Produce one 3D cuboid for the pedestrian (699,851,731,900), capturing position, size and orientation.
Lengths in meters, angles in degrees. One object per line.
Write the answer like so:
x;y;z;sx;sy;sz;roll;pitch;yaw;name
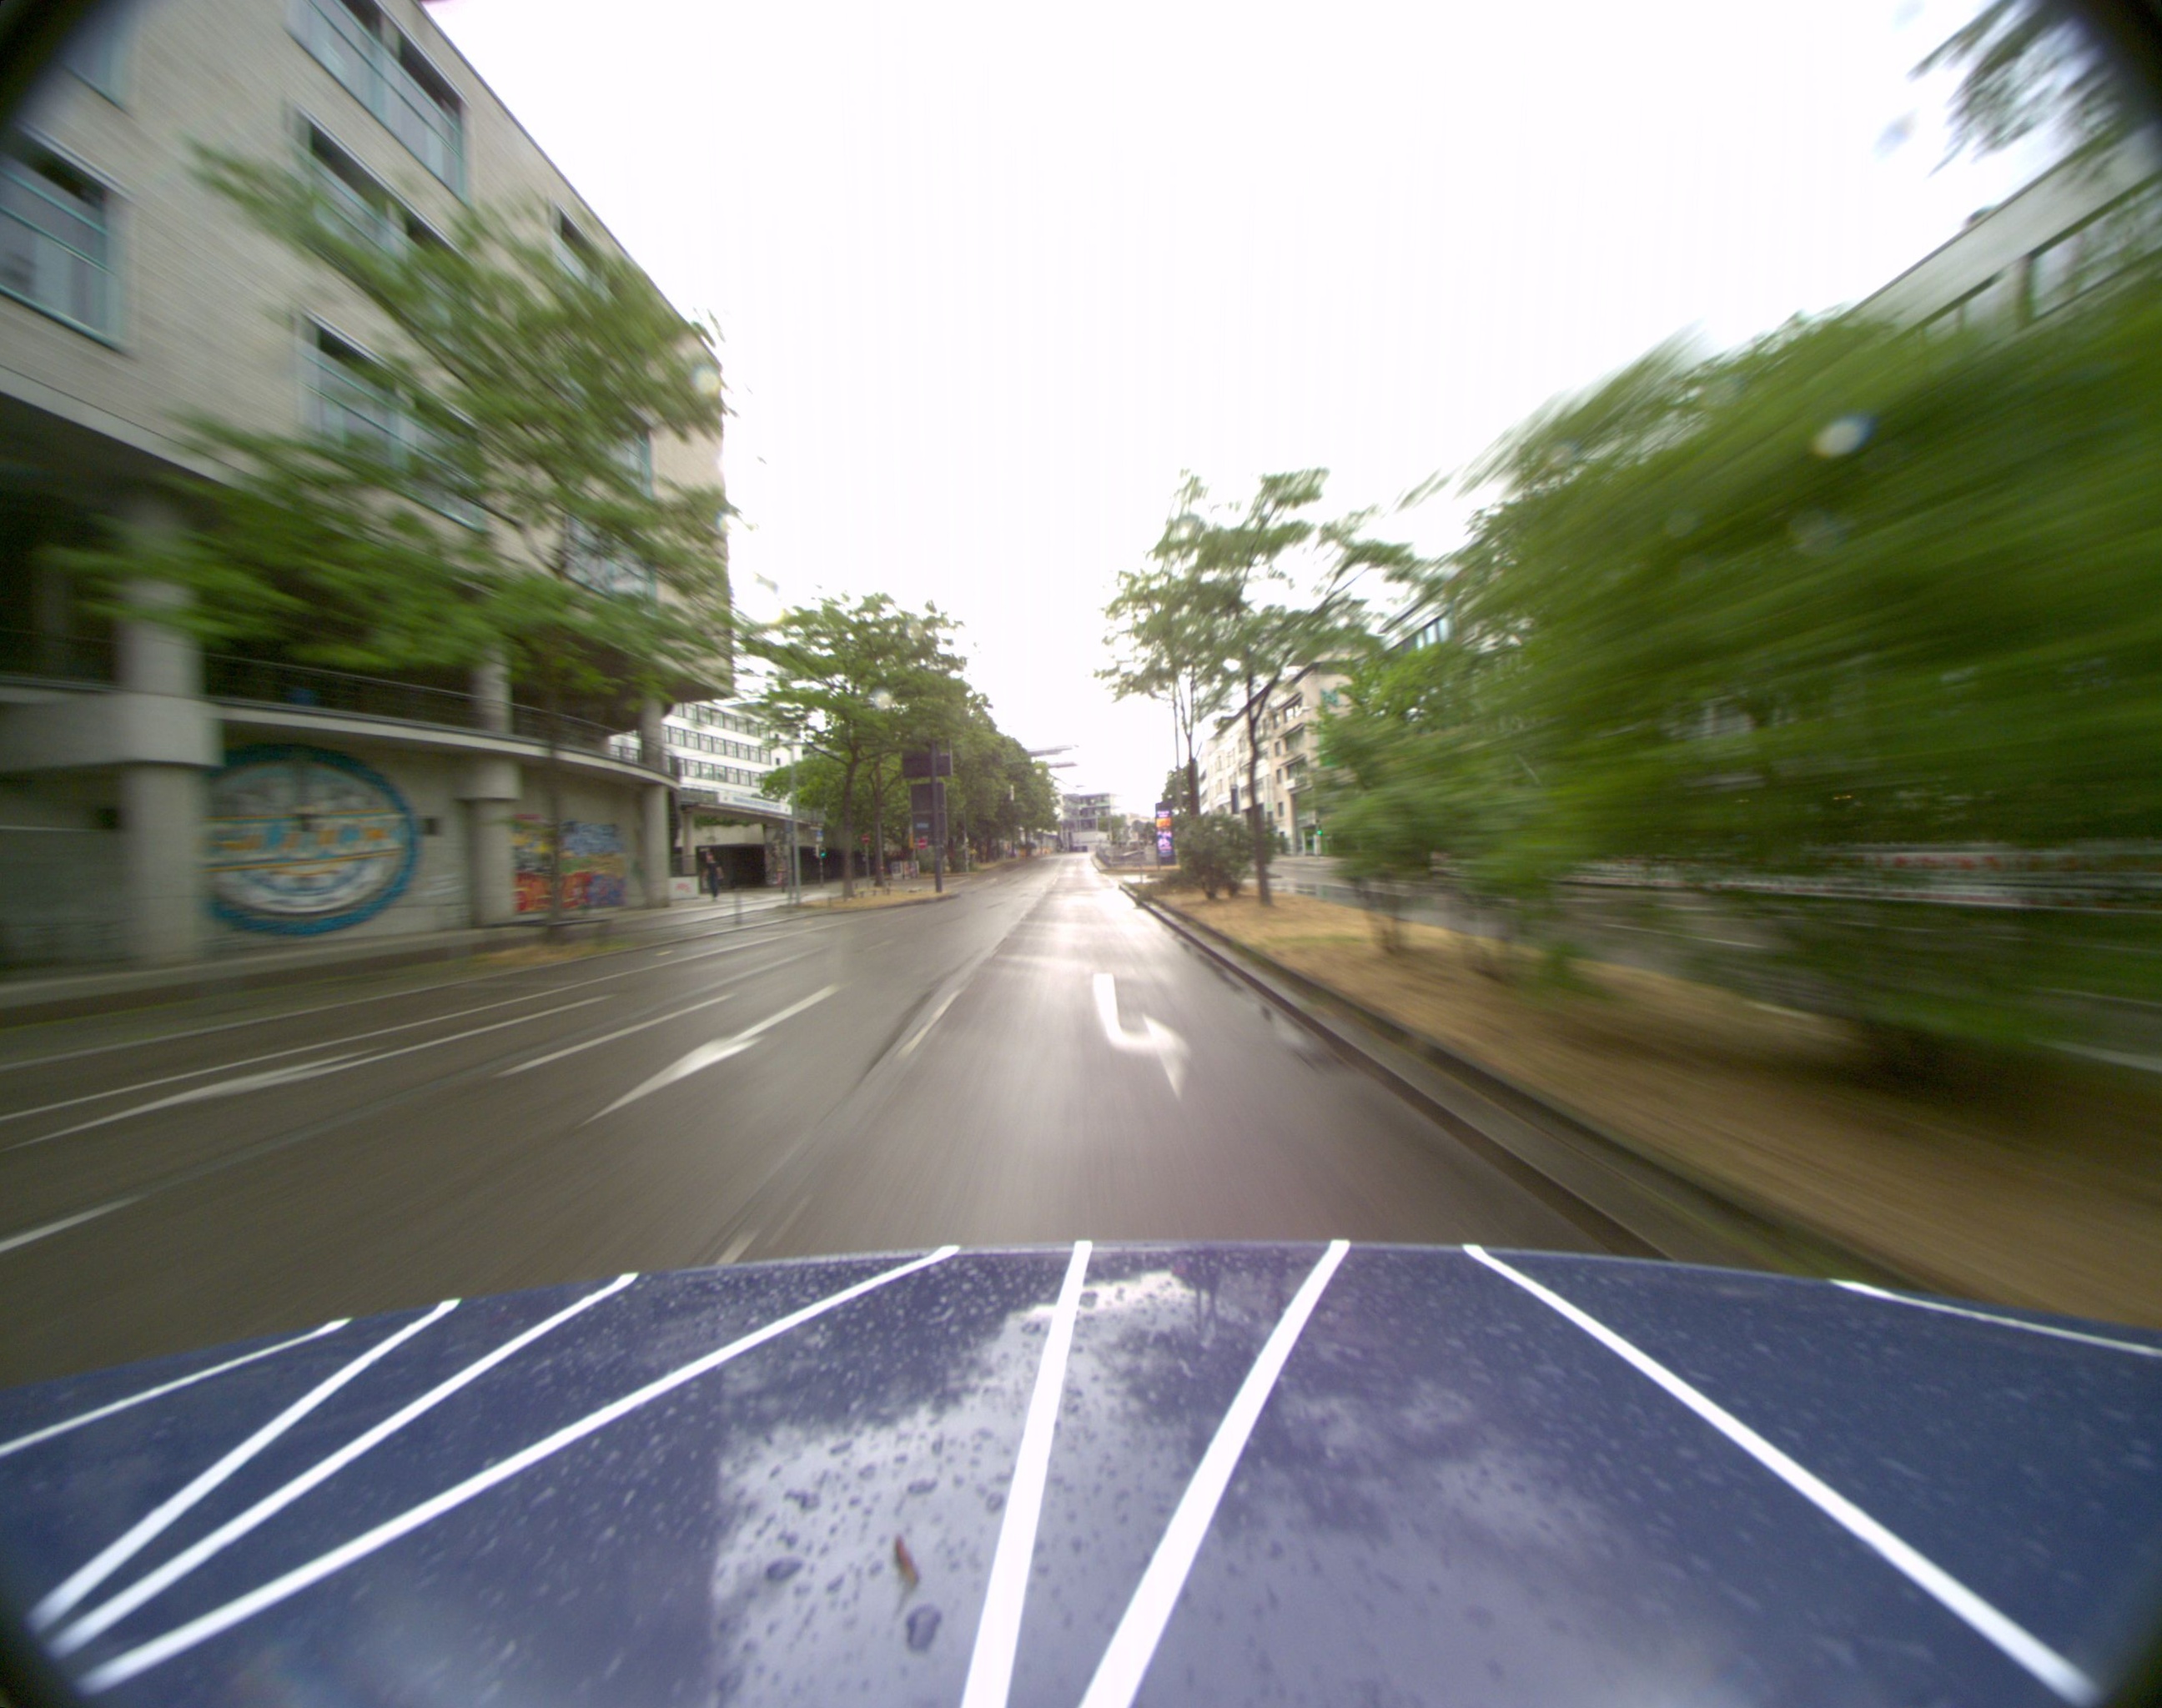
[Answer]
-15.279;0.883;31.769;0.871;2.002;0.758;-3;1;0;pedestrian
